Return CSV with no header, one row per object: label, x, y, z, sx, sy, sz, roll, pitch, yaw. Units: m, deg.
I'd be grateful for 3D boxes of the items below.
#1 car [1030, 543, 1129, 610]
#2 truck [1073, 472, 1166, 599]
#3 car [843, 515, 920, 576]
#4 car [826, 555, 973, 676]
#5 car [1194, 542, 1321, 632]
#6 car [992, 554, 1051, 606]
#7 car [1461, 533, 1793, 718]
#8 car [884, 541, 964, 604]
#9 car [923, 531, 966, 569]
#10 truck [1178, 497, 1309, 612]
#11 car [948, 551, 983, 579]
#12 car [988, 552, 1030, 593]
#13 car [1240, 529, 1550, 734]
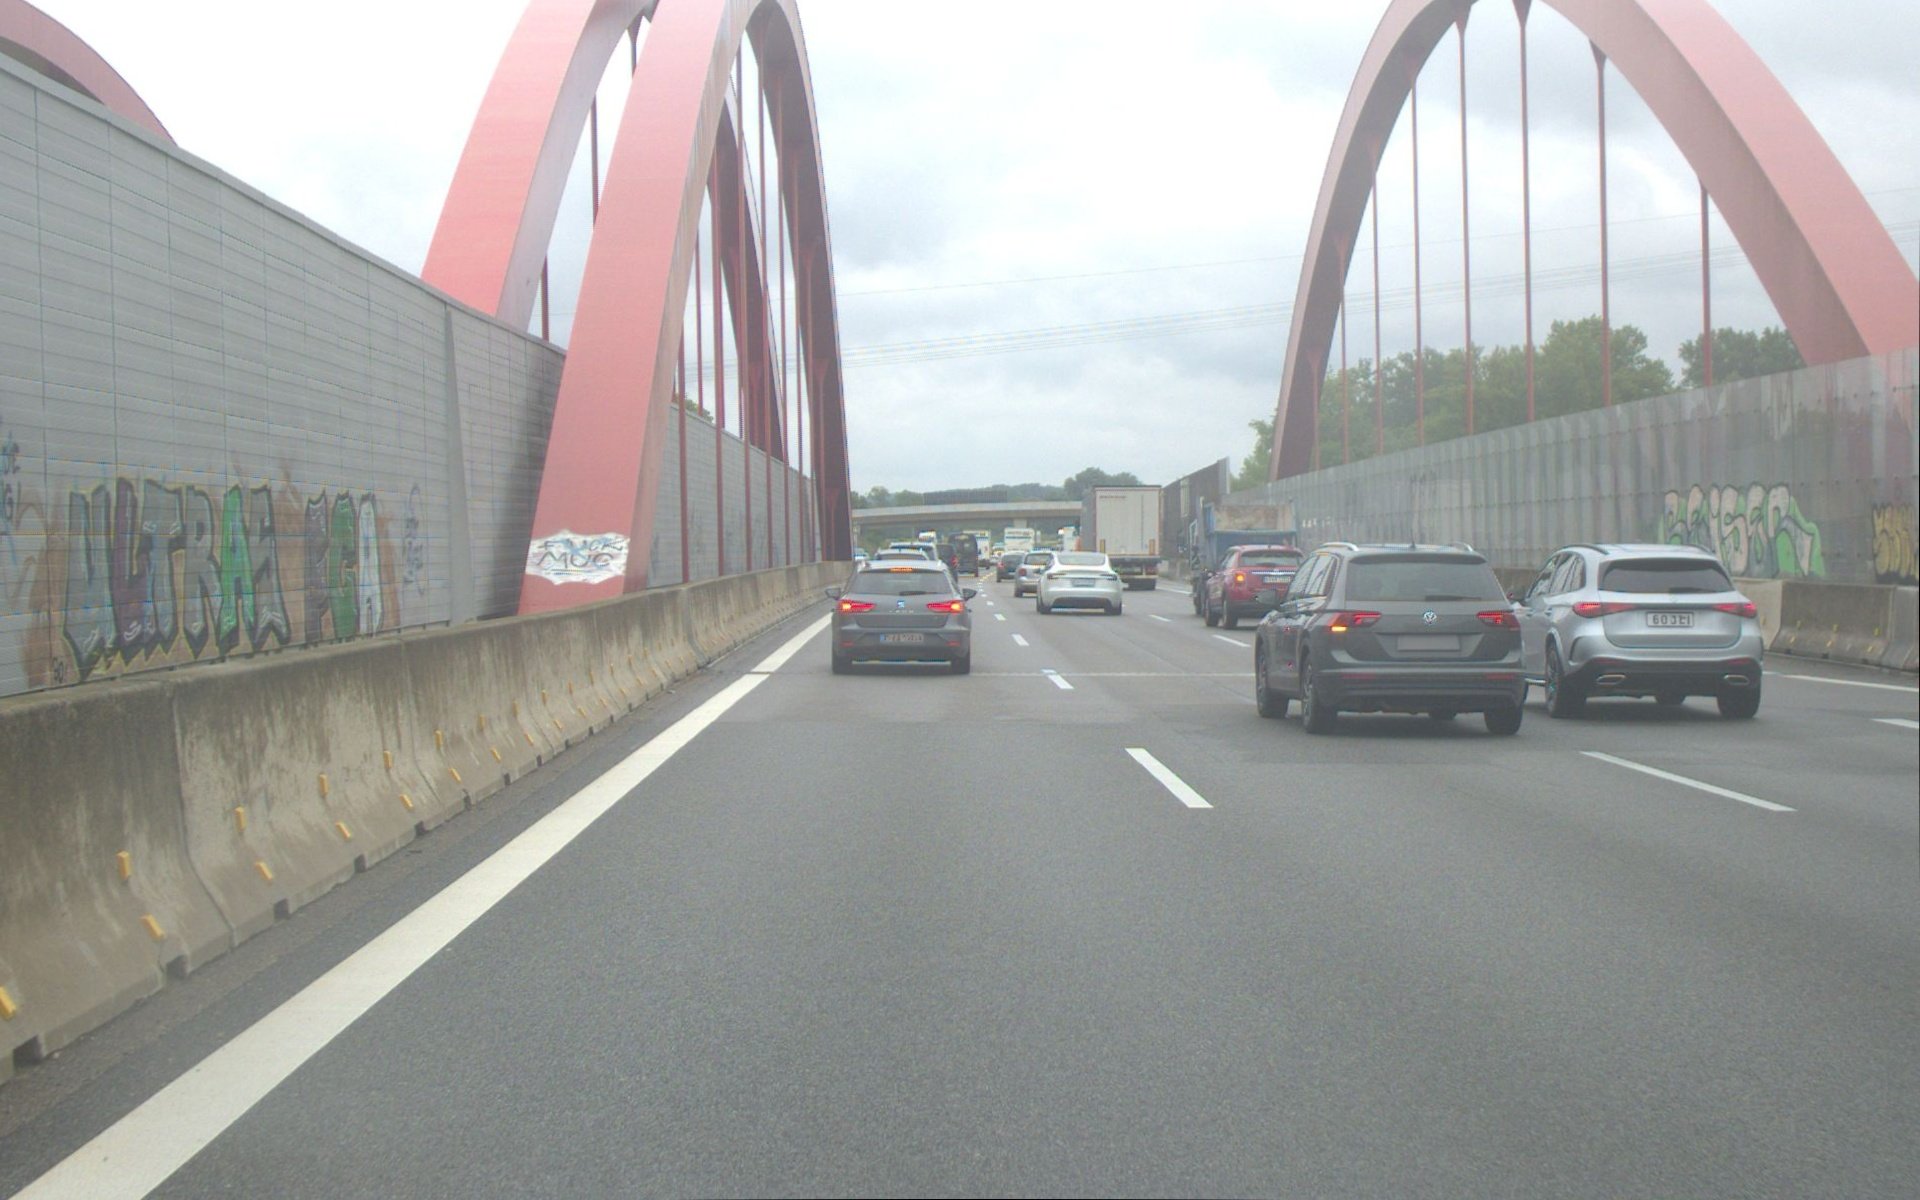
car,2.705,-0.564,78.563,1.993,1.481,4.000,0,1,-2
truck,6.145,-2.482,133.525,3.044,4.718,7.680,1,1,-1
car,-2.123,-1.461,91.978,1.993,1.579,4.001,-1,1,-2
car,-0.752,0.164,43.643,1.764,1.448,4.000,0,1,-1
car,5.647,-0.269,65.680,1.957,1.641,4.000,1,1,-2
car,1.875,-0.637,106.138,1.702,1.538,3.839,0,1,-1
car,6.311,0.194,33.185,1.993,1.613,5.328,1,1,-2
car,-0.848,-0.652,79.360,1.781,1.401,3.626,0,1,-1
car,-0.748,-2.399,164.928,1.993,1.809,4.000,0,1,-1
truck,6.369,-1.038,77.888,2.361,2.498,6.144,0,1,-1
car,0.345,-2.090,205.906,1.993,1.618,4.000,0,1,1
car,2.453,-1.403,173.181,1.993,2.007,4.000,1,1,-1
car,3.707,0.229,30.005,1.911,1.664,4.105,0,1,-4
